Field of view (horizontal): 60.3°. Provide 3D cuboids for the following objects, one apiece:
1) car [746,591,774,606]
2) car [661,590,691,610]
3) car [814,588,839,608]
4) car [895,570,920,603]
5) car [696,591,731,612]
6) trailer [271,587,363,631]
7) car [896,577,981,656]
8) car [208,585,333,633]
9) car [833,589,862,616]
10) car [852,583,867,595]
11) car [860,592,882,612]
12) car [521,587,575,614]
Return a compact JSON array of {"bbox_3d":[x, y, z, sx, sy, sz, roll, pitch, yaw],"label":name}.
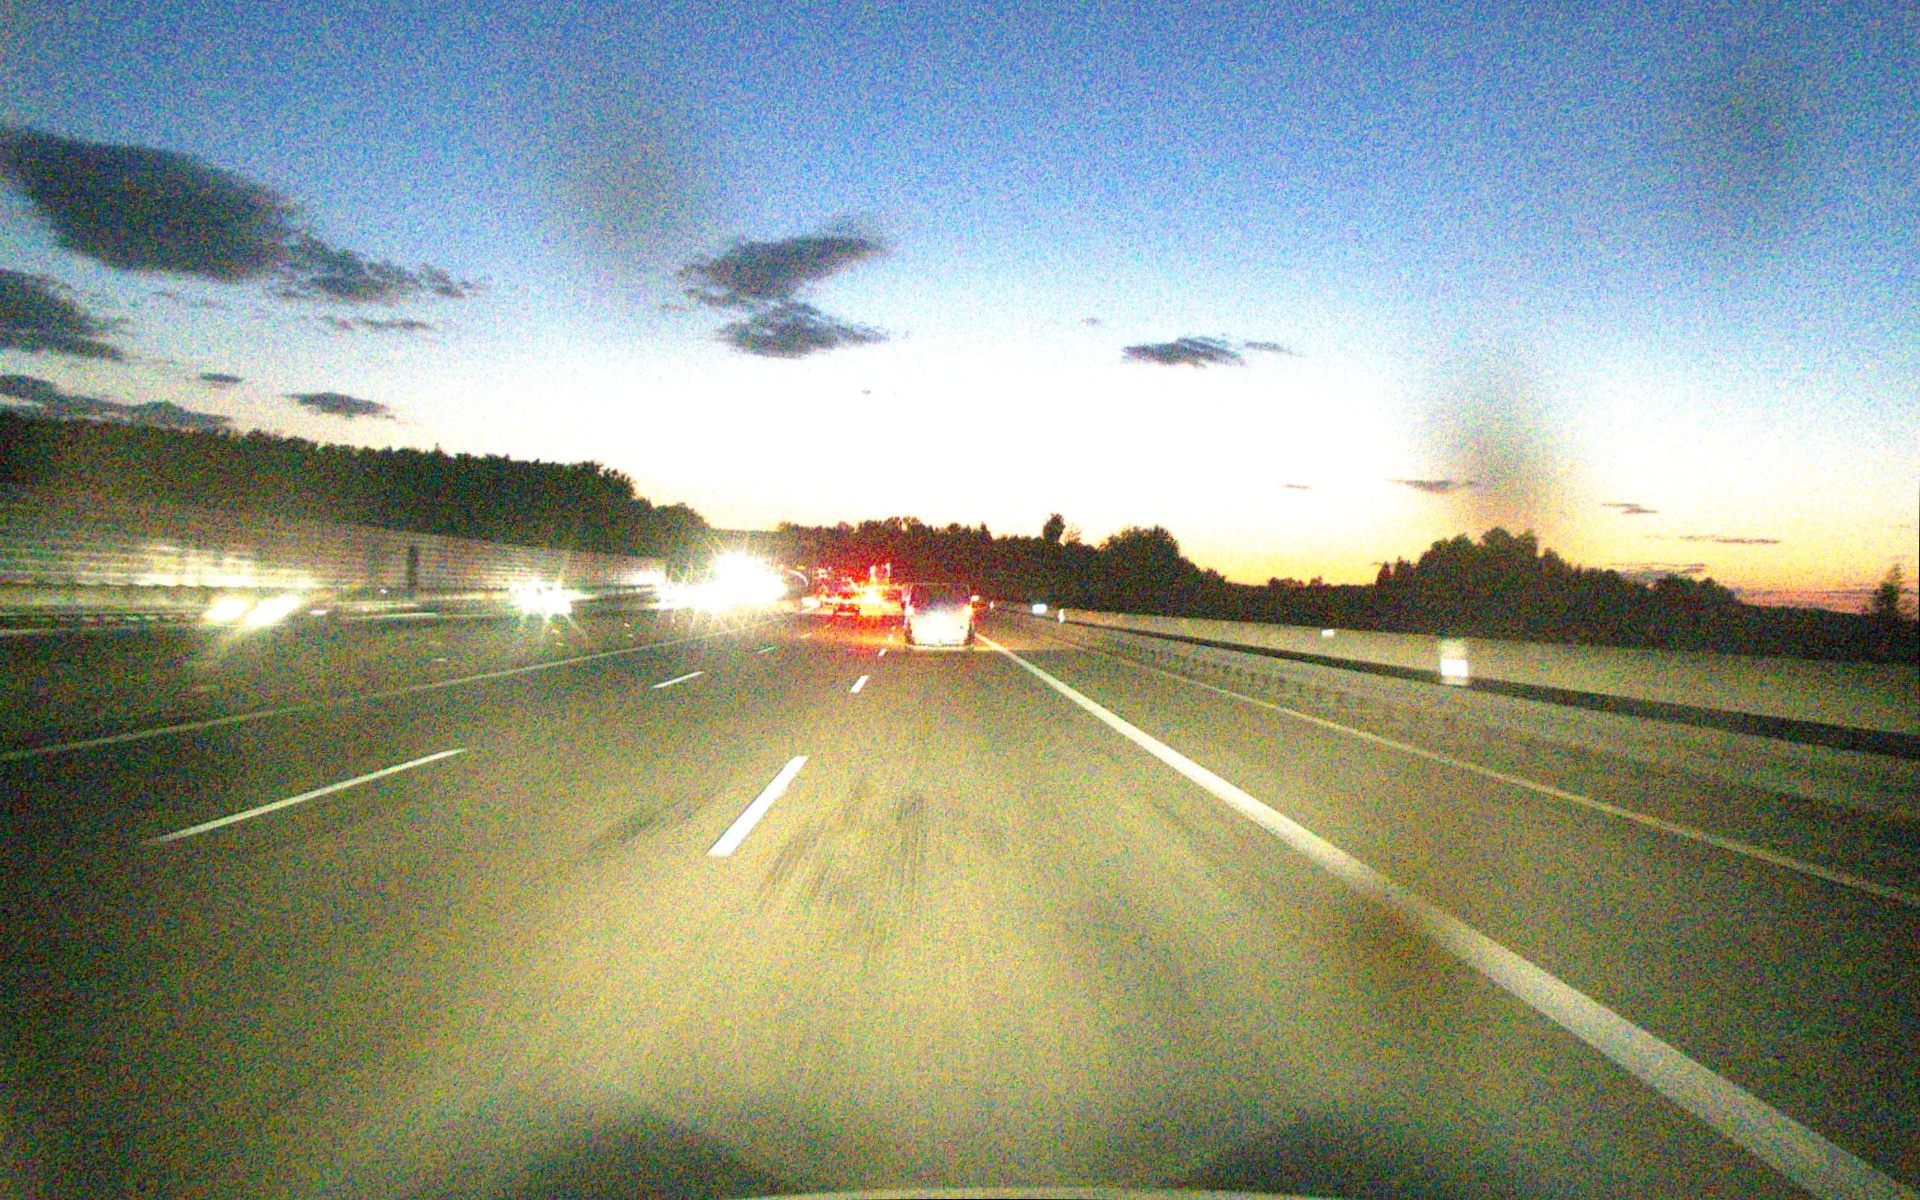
[{"bbox_3d":[-22.118,-0.193,183.074,2.508,1.583,5.107,1,0,-2],"label":"car"},{"bbox_3d":[-27.007,-0.029,157.584,2.012,1.813,5.939,1,0,-2],"label":"car"},{"bbox_3d":[-12.363,-0.179,152.882,2.128,1.696,4.883,1,0,-3],"label":"car"},{"bbox_3d":[-4.463,-1.207,140.944,1.991,2.693,5.724,1,1,-1],"label":"car"},{"bbox_3d":[-19.339,0.111,130.064,2.076,1.583,5.107,1,0,-2],"label":"car"},{"bbox_3d":[-23.392,0.308,60.267,2.139,1.507,3.128,2,0,-2],"label":"trailer"},{"bbox_3d":[-0.688,0.410,47.585,2.074,2.035,5.660,1,1,-4],"label":"car"},{"bbox_3d":[-23.280,0.280,56.076,2.139,1.507,5.241,2,0,-2],"label":"car"},{"bbox_3d":[-7.949,0.212,117.019,1.954,1.847,3.997,1,0,-4],"label":"car"},{"bbox_3d":[-14.897,-1.621,245.355,1.953,1.825,3.998,1,0,-2],"label":"car"},{"bbox_3d":[-8.460,0.214,157.033,1.953,1.825,3.999,1,0,-2],"label":"car"},{"bbox_3d":[-24.755,0.028,99.584,2.076,1.583,5.107,1,0,-2],"label":"car"}]
